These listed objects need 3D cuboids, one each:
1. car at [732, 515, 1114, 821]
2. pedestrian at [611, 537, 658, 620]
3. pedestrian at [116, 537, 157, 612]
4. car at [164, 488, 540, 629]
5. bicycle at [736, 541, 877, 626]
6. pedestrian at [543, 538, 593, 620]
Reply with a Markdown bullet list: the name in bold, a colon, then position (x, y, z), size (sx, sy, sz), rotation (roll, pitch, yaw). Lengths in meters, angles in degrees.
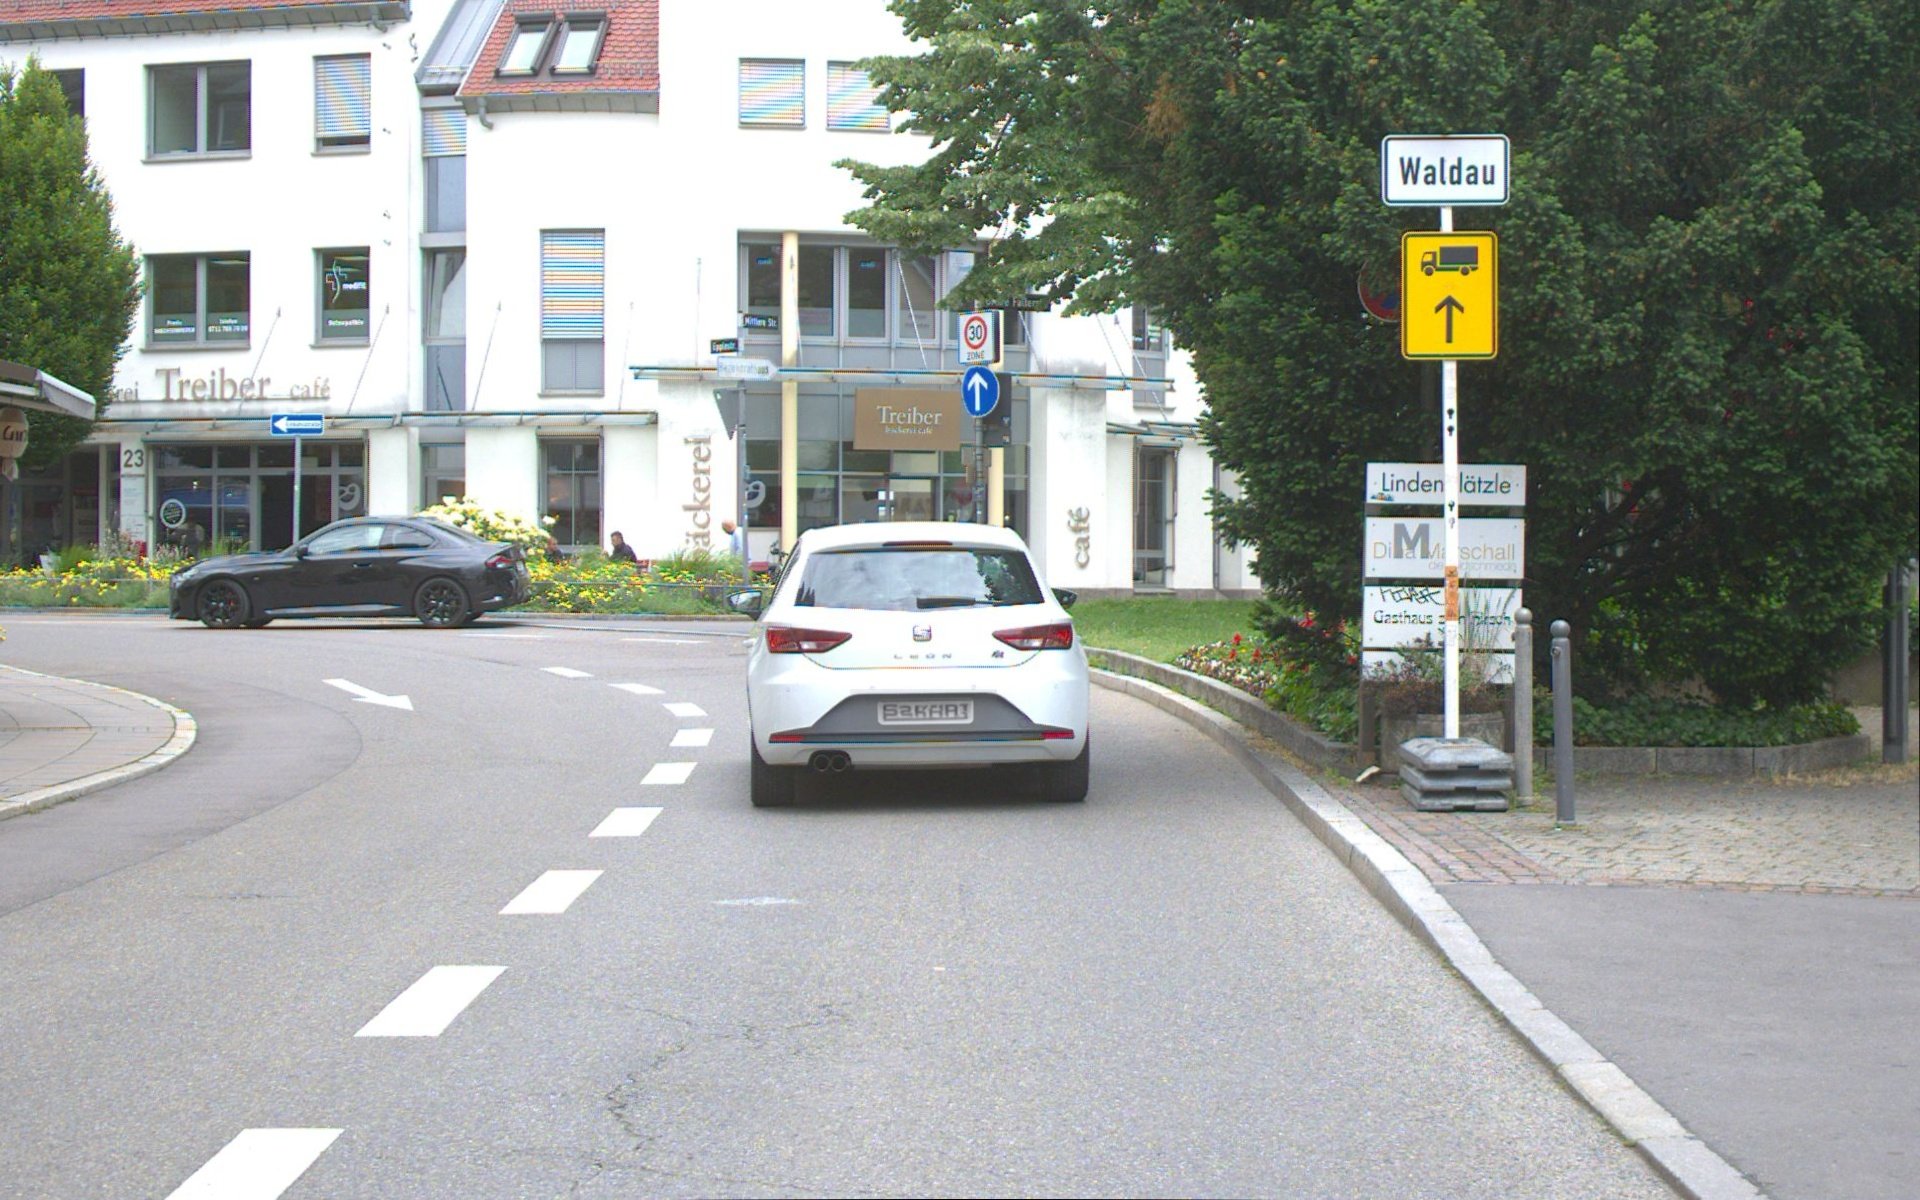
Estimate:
- **car**: position (-0.280, 0.285, 18.739), size (1.843, 1.429, 4.001), rotation (1, 2, -3)
- **pedestrian**: position (-5.286, -0.351, 55.847), size (0.655, 1.337, 0.696), rotation (0, 1, 5)
- **pedestrian**: position (-13.975, -0.435, 58.351), size (0.490, 1.267, 0.501), rotation (1, 1, 18)
- **car**: position (-7.671, -0.537, 43.654), size (4.359, 1.669, 2.041), rotation (1, 1, 2)
- **bicycle**: position (-2.312, -0.258, 51.869), size (1.975, 1.235, 0.743), rotation (1, 1, 17)
- **pedestrian**: position (-6.388, -0.345, 56.045), size (0.700, 1.327, 0.684), rotation (0, 1, 5)
